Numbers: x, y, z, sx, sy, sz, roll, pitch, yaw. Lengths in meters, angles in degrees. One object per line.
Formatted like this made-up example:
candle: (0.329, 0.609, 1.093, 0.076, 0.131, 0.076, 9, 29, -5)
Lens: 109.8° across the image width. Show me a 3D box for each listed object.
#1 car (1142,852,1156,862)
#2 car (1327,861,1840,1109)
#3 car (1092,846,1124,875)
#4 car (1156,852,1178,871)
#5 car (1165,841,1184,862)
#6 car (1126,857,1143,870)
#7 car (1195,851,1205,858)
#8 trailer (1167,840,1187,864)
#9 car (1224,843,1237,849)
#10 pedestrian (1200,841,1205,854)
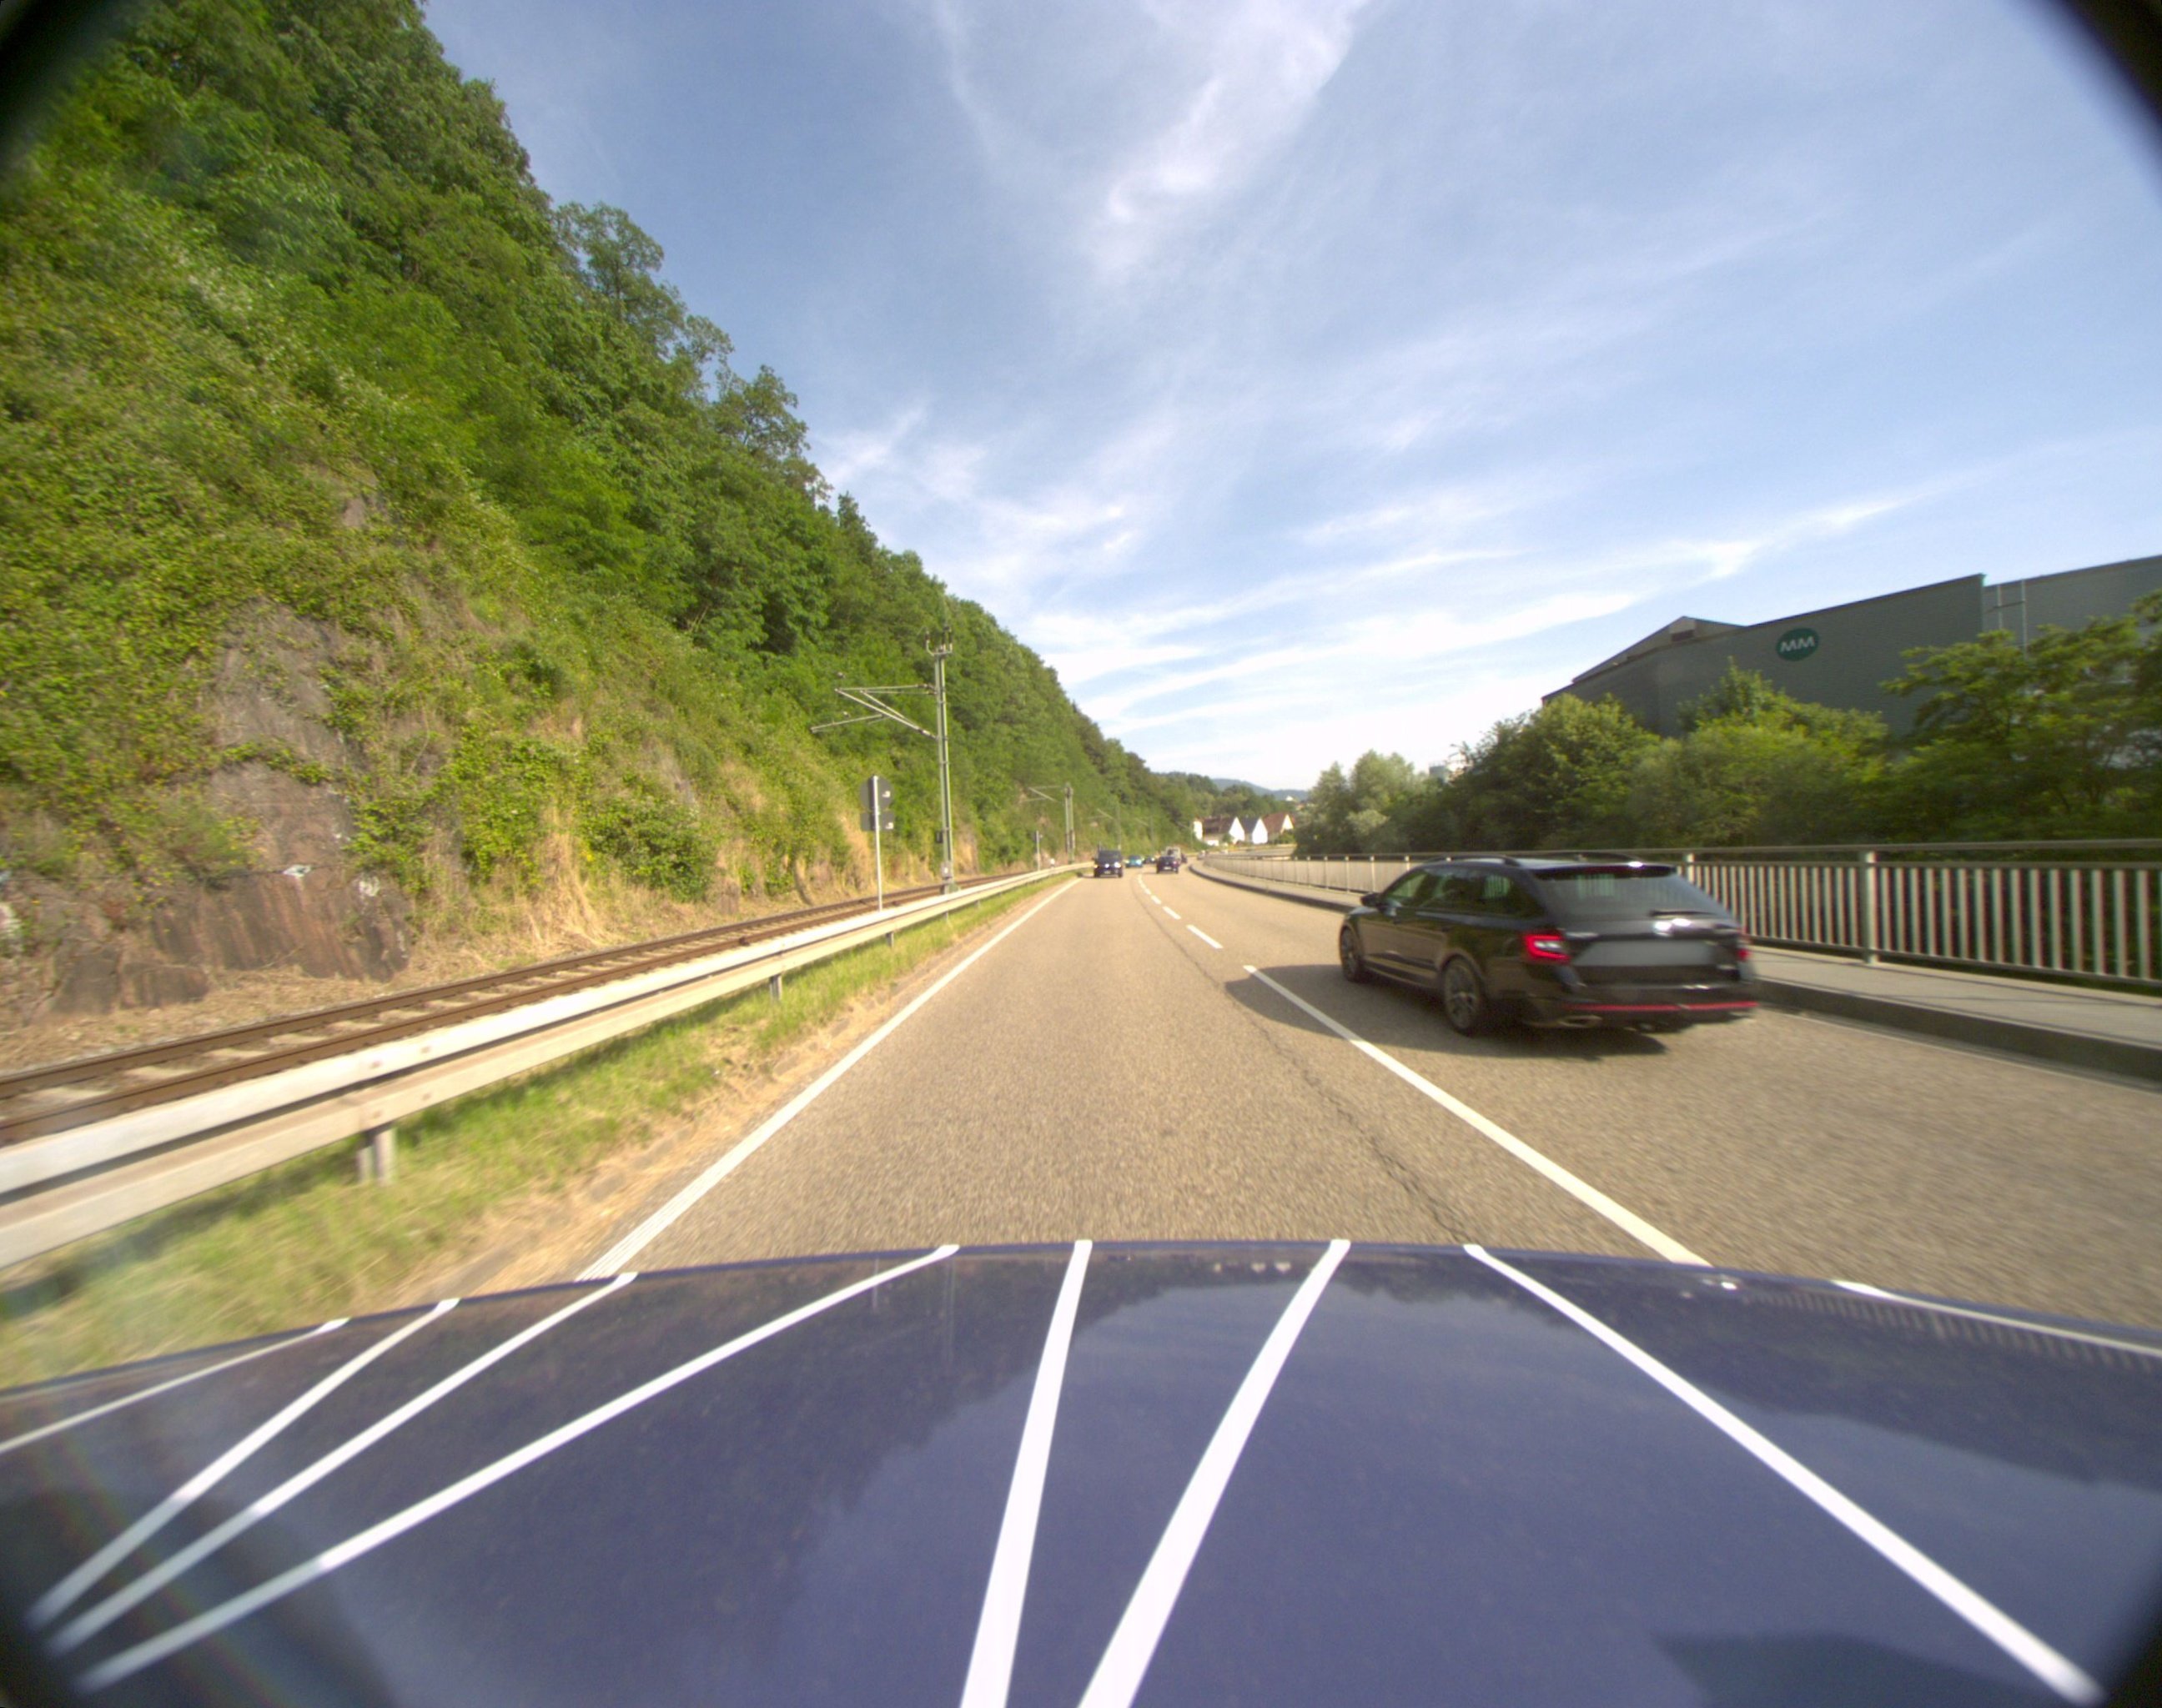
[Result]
car: (9.681, 0.414, 108.012, 1.651, 1.424, 3.334, 1, 1, 11)
car: (3.803, 0.826, 6.849, 1.725, 1.427, 4.339, -2, 0, 0)
car: (1.884, 0.454, 52.372, 1.908, 1.868, 4.350, -2, -1, 5)
car: (6.956, 0.575, 61.613, 1.706, 1.423, 4.076, -1, 1, 6)
car: (11.863, -0.290, 96.572, 2.163, 2.517, 6.580, -1, 0, 5)
car: (6.136, 1.082, 86.447, 1.749, 1.424, 3.333, 1, 1, 8)
car: (22.151, 0.090, 141.648, 1.587, 1.302, 3.504, 1, 1, 14)
trailer: (11.419, -0.276, 90.637, 2.126, 2.700, 5.349, -1, 1, 5)
car: (37.841, -2.036, 192.720, 1.994, 1.671, 4.008, 1, 1, 31)
pedestrian: (17.483, -0.970, 109.145, 0.719, 1.808, 0.877, -1, 1, 10)
